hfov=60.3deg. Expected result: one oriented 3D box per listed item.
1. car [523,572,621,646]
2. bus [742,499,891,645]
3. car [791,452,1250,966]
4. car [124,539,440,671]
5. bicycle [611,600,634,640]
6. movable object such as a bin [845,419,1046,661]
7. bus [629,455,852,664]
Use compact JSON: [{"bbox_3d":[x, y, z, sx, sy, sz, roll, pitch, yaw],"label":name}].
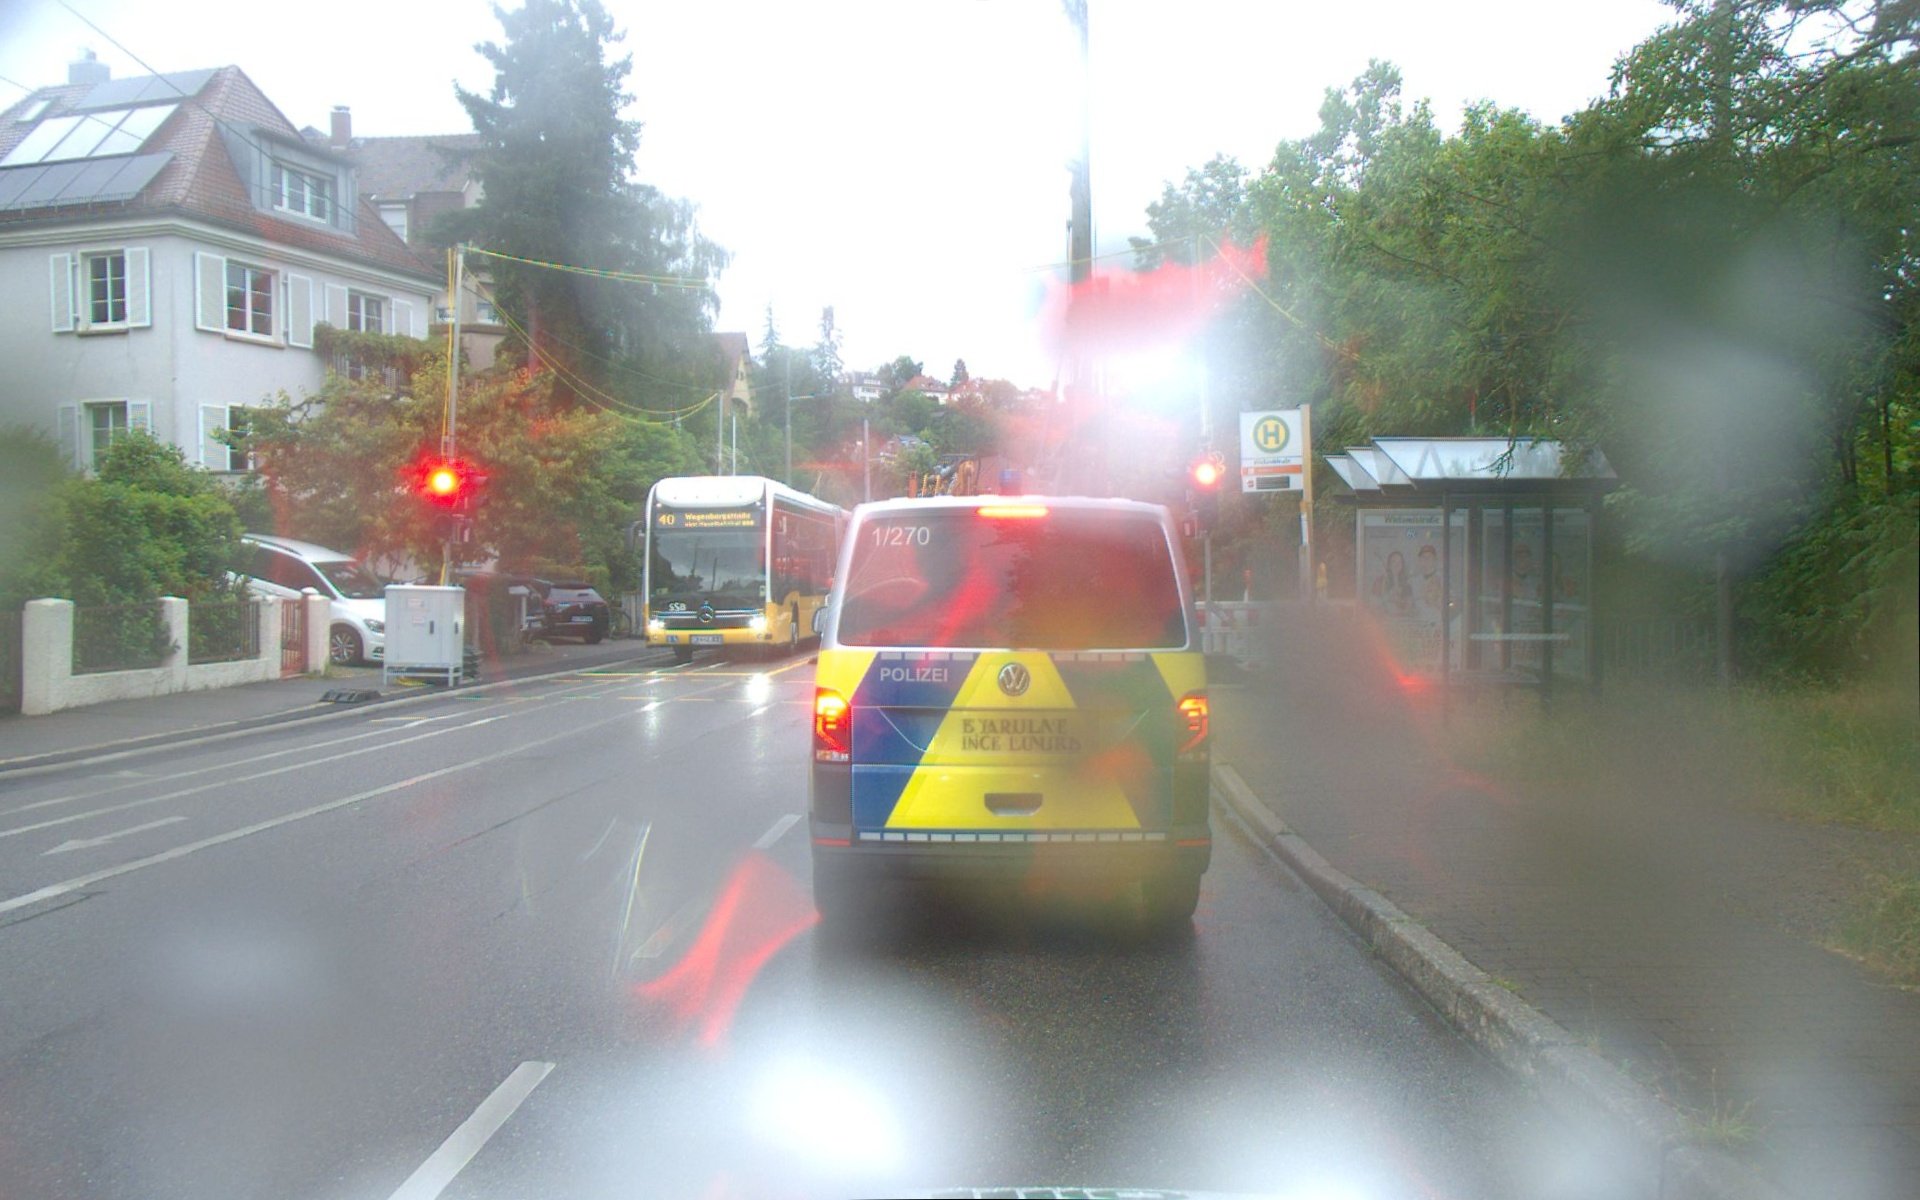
[{"bbox_3d":[-8.911,0.180,37.812,1.739,1.512,3.721,1,2,-20],"label":"car"},{"bbox_3d":[-3.918,-0.763,48.255,2.782,3.688,12.009,1,0,2],"label":"bus"},{"bbox_3d":[0.223,0.439,8.803,1.855,2.086,3.999,1,0,-1],"label":"car"},{"bbox_3d":[-11.210,0.059,27.473,4.532,2.042,1.902,1,0,11],"label":"car"},{"bbox_3d":[-8.054,0.471,39.437,0.455,0.913,1.628,0,0,-15],"label":"bicycle"},{"bbox_3d":[-0.167,-1.089,31.621,2.770,4.250,4.384,1,0,14],"label":"movable object such as a bin"},{"bbox_3d":[-4.422,-0.786,36.328,2.782,3.783,12.009,1,0,2],"label":"bus"}]
